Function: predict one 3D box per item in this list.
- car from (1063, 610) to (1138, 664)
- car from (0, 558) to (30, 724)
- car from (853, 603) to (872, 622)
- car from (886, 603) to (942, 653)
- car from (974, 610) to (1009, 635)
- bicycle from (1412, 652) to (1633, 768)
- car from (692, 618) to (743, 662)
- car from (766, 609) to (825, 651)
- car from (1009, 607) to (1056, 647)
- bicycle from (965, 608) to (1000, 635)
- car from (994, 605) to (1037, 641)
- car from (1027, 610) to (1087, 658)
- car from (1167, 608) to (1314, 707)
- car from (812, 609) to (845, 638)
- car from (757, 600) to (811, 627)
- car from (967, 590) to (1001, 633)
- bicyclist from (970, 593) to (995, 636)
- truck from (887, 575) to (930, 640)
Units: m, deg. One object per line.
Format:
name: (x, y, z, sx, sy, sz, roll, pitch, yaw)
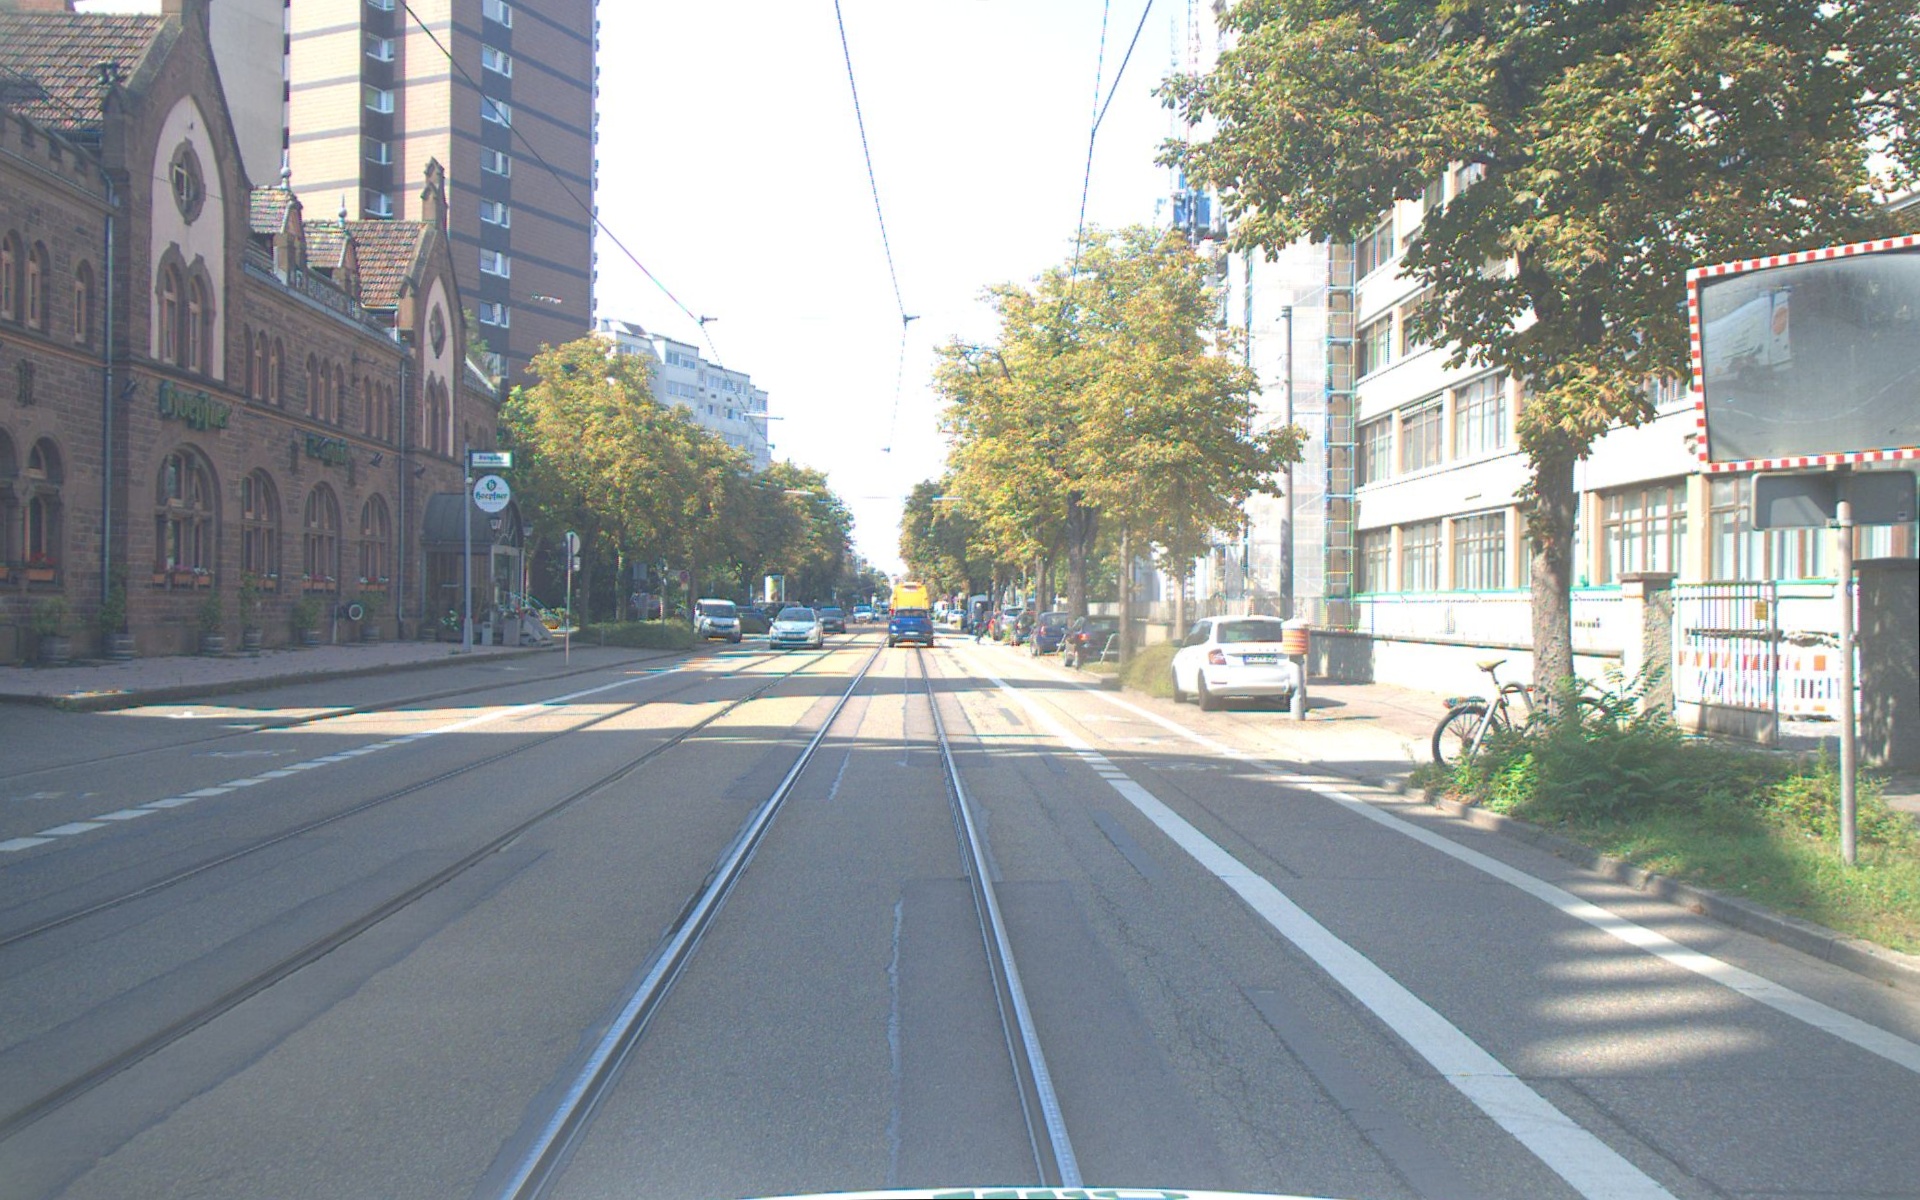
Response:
car: (3.859, 0.995, 45.846, 1.626, 1.432, 4.215, 0, -1, -1)
car: (-12.278, 0.312, 17.124, 4.052, 1.774, 2.000, 4, 0, -1)
car: (-9.468, 1.204, 160.814, 1.744, 1.713, 4.344, 1, 0, -3)
car: (-1.827, 1.086, 65.761, 2.092, 1.891, 5.566, 0, 0, -2)
car: (1.916, 1.361, 101.053, 1.870, 1.457, 4.290, 1, 0, -3)
bicycle: (4.997, 0.973, 14.737, 1.775, 0.975, 0.558, 1, 0, -2)
car: (-10.831, 1.768, 73.716, 1.719, 1.828, 3.982, 1, 0, -16)
car: (-6.110, 1.082, 61.782, 1.809, 1.518, 4.866, 0, 0, -1)
car: (3.055, 1.122, 70.472, 1.601, 1.612, 4.186, 1, 0, -3)
bicycle: (0.959, 0.939, 72.897, 1.373, 1.154, 3.998, 1, 0, -2)
car: (2.667, 1.112, 80.555, 1.705, 1.697, 4.359, 1, 0, -3)
car: (3.328, 1.154, 57.379, 1.707, 1.583, 4.215, 0, -1, -1)
car: (4.570, 0.899, 27.485, 1.626, 1.507, 4.215, 0, -1, -1)
car: (-7.459, 1.301, 94.081, 1.647, 1.599, 4.204, 1, 0, -1)
car: (-13.806, 1.081, 129.721, 1.826, 2.049, 3.971, 0, -1, 45)
car: (1.596, 0.790, 111.642, 1.954, 2.804, 5.758, 1, 0, -3)
bicyclist: (0.999, 0.634, 72.883, 1.011, 1.844, 1.016, 1, 0, -2)
truck: (-2.625, 0.392, 84.703, 2.092, 3.179, 6.082, 0, 0, -2)
